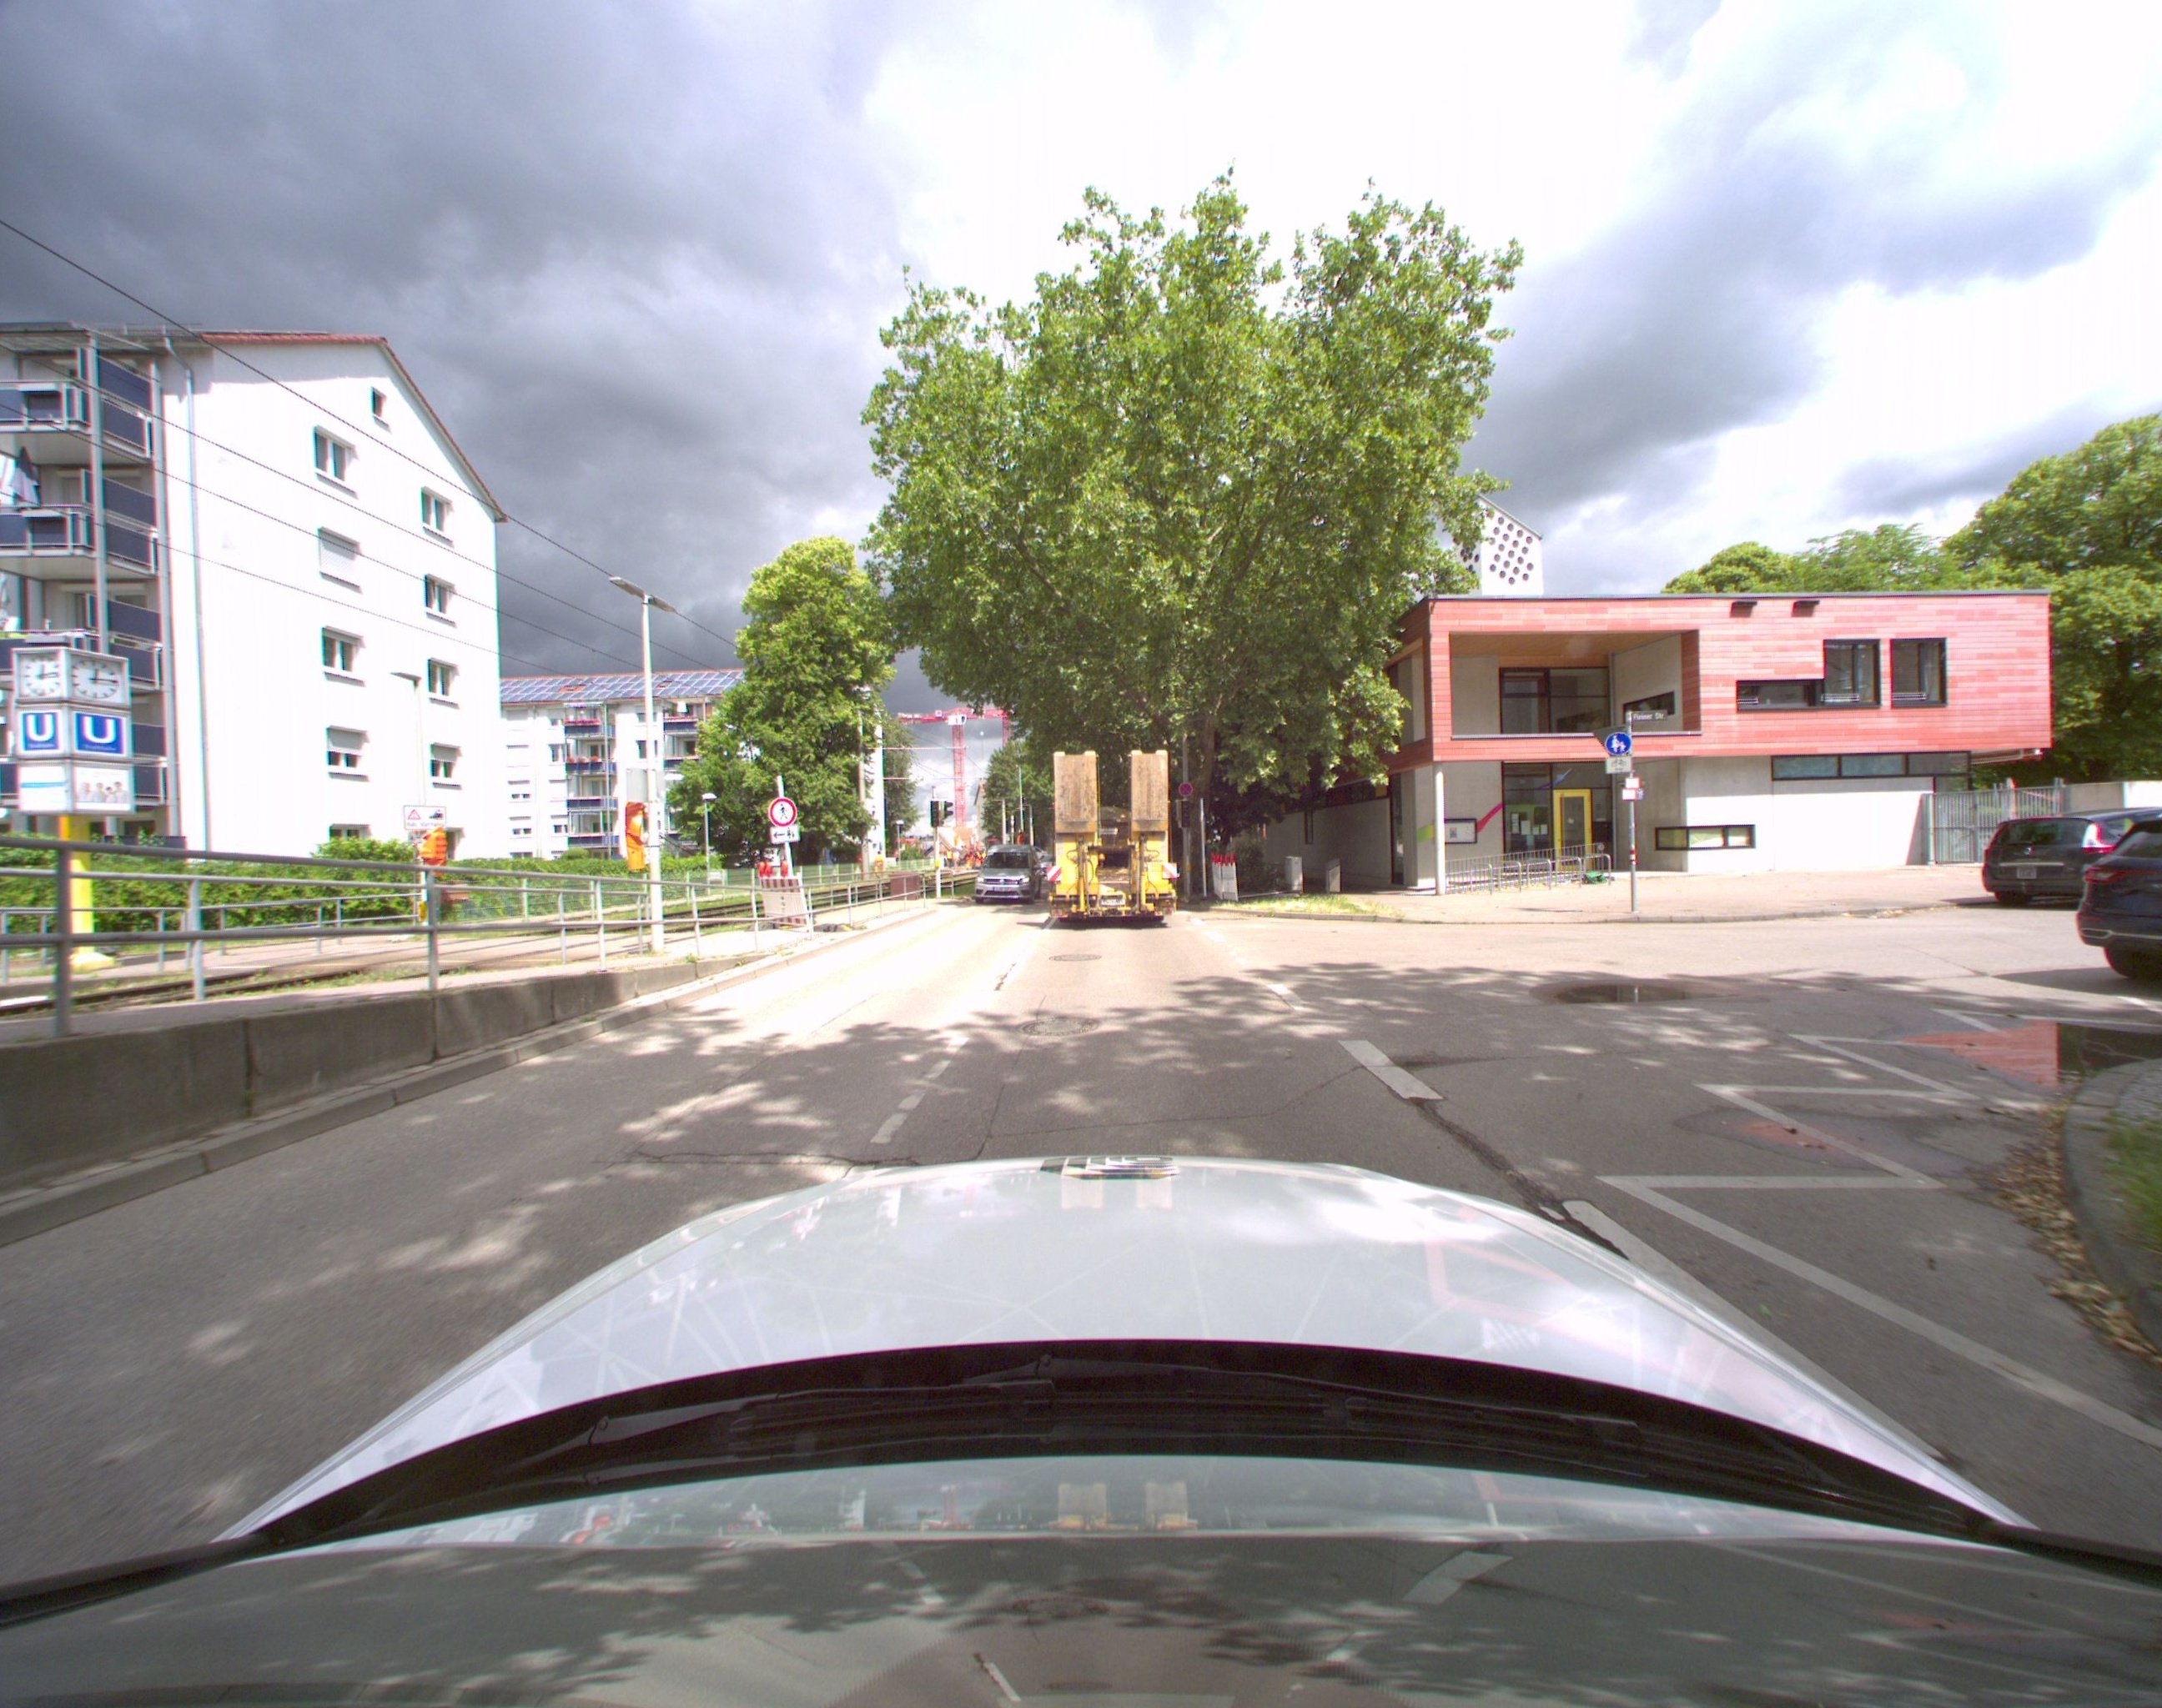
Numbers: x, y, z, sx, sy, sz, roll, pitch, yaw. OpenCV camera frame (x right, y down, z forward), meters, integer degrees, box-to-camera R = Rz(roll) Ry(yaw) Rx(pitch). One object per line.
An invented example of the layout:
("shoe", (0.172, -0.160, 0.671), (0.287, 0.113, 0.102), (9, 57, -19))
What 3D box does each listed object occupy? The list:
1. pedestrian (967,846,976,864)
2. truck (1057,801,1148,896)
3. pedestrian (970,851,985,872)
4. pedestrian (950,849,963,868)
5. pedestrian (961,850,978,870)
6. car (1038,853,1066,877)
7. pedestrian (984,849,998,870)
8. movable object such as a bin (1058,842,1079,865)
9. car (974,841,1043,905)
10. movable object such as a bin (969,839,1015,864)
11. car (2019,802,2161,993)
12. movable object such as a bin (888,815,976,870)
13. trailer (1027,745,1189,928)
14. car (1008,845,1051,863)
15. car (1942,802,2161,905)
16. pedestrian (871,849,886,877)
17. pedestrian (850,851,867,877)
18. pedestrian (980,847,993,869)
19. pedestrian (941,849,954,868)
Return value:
("pedestrian", (-11.467, 0.143, 85.084), (0.834, 1.867, 0.885), (-1, 0, -10))
("truck", (0.755, -0.175, 31.005), (2.979, 3.135, 7.888), (-1, 0, 1))
("pedestrian", (-8.819, 0.626, 69.439), (0.878, 1.760, 0.841), (-1, 0, 21))
("pedestrian", (-11.311, 0.399, 73.792), (0.891, 1.645, 0.829), (-1, 0, -29))
("pedestrian", (-9.738, 0.482, 71.199), (1.117, 1.715, 0.877), (-1, 0, -43))
("car", (-1.803, 0.684, 51.467), (1.631, 1.435, 3.850), (-1, 0, 0))
("pedestrian", (-8.092, 0.475, 73.367), (0.877, 1.867, 0.842), (-1, 0, 30))
("movable object such as a bin", (-1.118, -0.051, 75.644), (1.389, 2.013, 2.565), (-1, 0, 13))
("car", (-2.224, 0.527, 26.048), (1.748, 1.840, 4.645), (1, 0, 0))
("movable object such as a bin", (-9.646, -0.239, 88.340), (4.325, 2.629, 2.234), (-1, 0, 28))
("car", (11.650, 0.294, 7.459), (4.175, 1.681, 2.008), (-3, 1, -7))
("movable object such as a bin", (-15.465, -1.132, 84.308), (9.115, 5.414, 2.680), (-1, 0, 28))
("trailer", (0.608, -0.346, 21.519), (3.143, 3.552, 11.098), (-1, 0, 1))
("car", (-6.394, -0.041, 100.954), (5.094, 2.102, 1.968), (-2, 0, -13))
("car", (17.911, -0.060, 14.154), (4.225, 1.604, 1.888), (-2, 0, -7))
("pedestrian", (-12.772, 0.578, 51.368), (0.697, 1.718, 0.867), (-1, 0, 2))
("pedestrian", (-13.826, 0.613, 50.664), (0.729, 1.625, 0.867), (-1, 0, 2))
("pedestrian", (-8.197, 0.318, 70.516), (0.890, 1.867, 0.830), (-1, 0, -27))
("pedestrian", (-12.150, 0.410, 74.192), (0.891, 1.645, 0.891), (-1, 0, -29))
